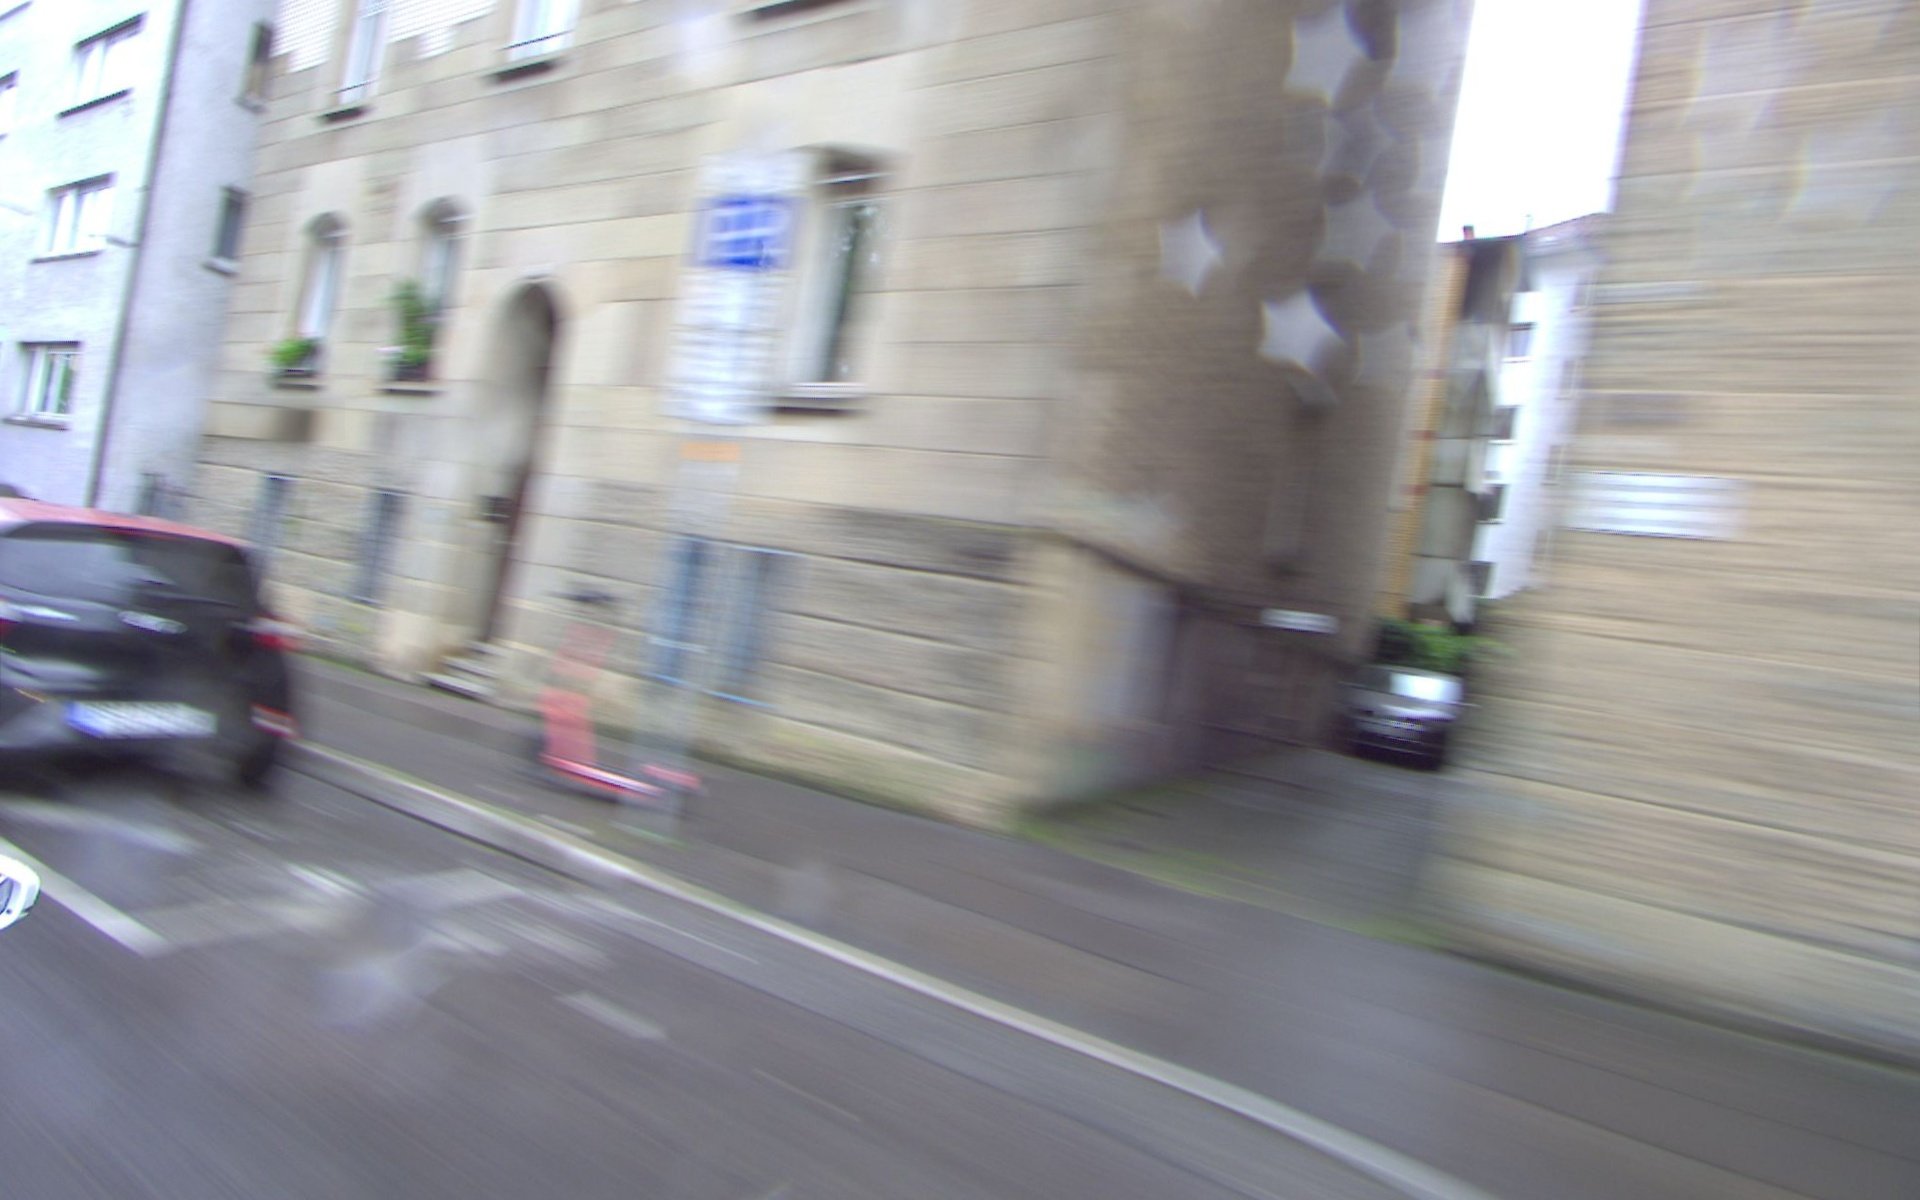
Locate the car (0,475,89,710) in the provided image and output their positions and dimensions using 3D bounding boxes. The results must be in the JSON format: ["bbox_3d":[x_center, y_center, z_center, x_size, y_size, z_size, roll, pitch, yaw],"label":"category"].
[{"bbox_3d":[-9.208,-0.336,8.280,4.426,1.728,1.769,7,-2,33],"label":"car"}]

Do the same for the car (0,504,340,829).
[{"bbox_3d":[-5.523,0.215,6.072,3.553,1.468,1.664,7,-3,36],"label":"car"}]

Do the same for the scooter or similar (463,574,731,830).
[{"bbox_3d":[-2.224,0.582,6.139,1.539,1.331,0.367,6,0,19],"label":"scooter or similar"}]

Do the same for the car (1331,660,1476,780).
[{"bbox_3d":[7.061,1.869,15.831,1.572,1.437,3.542,8,-2,30],"label":"car"}]
